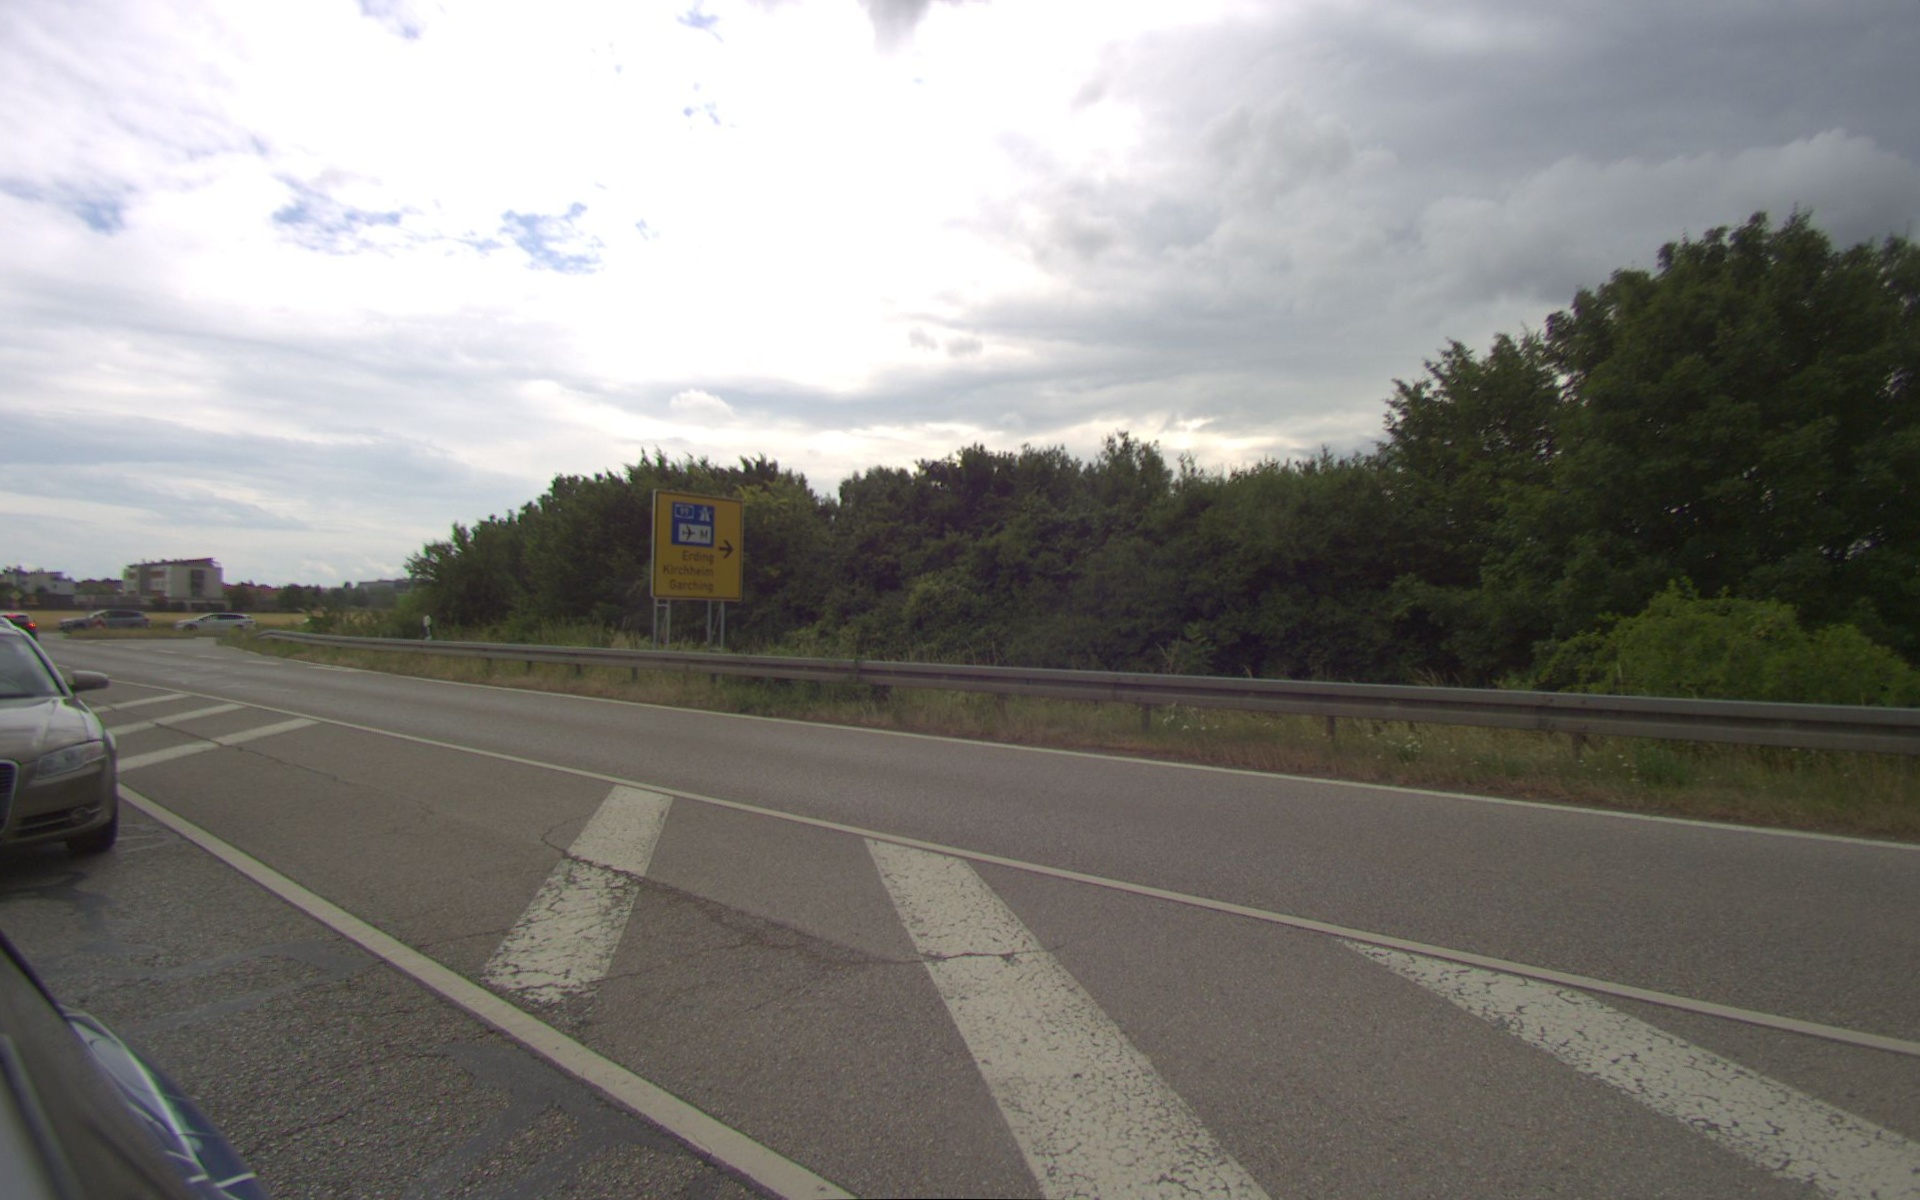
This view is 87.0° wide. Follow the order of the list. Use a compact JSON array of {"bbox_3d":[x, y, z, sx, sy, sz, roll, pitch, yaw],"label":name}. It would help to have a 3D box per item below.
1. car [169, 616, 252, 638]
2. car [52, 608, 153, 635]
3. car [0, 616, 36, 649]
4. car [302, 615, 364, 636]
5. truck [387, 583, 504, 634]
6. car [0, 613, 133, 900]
[{"bbox_3d":[-52.922,1.914,71.457,4.605,1.510,2.004,1,-1,-39],"label":"car"},{"bbox_3d":[-56.771,1.428,67.078,1.997,1.702,4.757,-1,-1,37],"label":"car"},{"bbox_3d":[-44.207,1.486,46.686,4.443,1.461,1.781,-1,-1,40],"label":"car"},{"bbox_3d":[-47.102,1.905,76.052,3.662,1.510,1.732,1,-1,-42],"label":"car"},{"bbox_3d":[-38.755,0.579,76.515,2.922,3.589,7.527,-1,0,30],"label":"truck"},{"bbox_3d":[-6.673,0.813,6.274,4.202,1.455,1.708,-1,-1,41],"label":"car"}]
